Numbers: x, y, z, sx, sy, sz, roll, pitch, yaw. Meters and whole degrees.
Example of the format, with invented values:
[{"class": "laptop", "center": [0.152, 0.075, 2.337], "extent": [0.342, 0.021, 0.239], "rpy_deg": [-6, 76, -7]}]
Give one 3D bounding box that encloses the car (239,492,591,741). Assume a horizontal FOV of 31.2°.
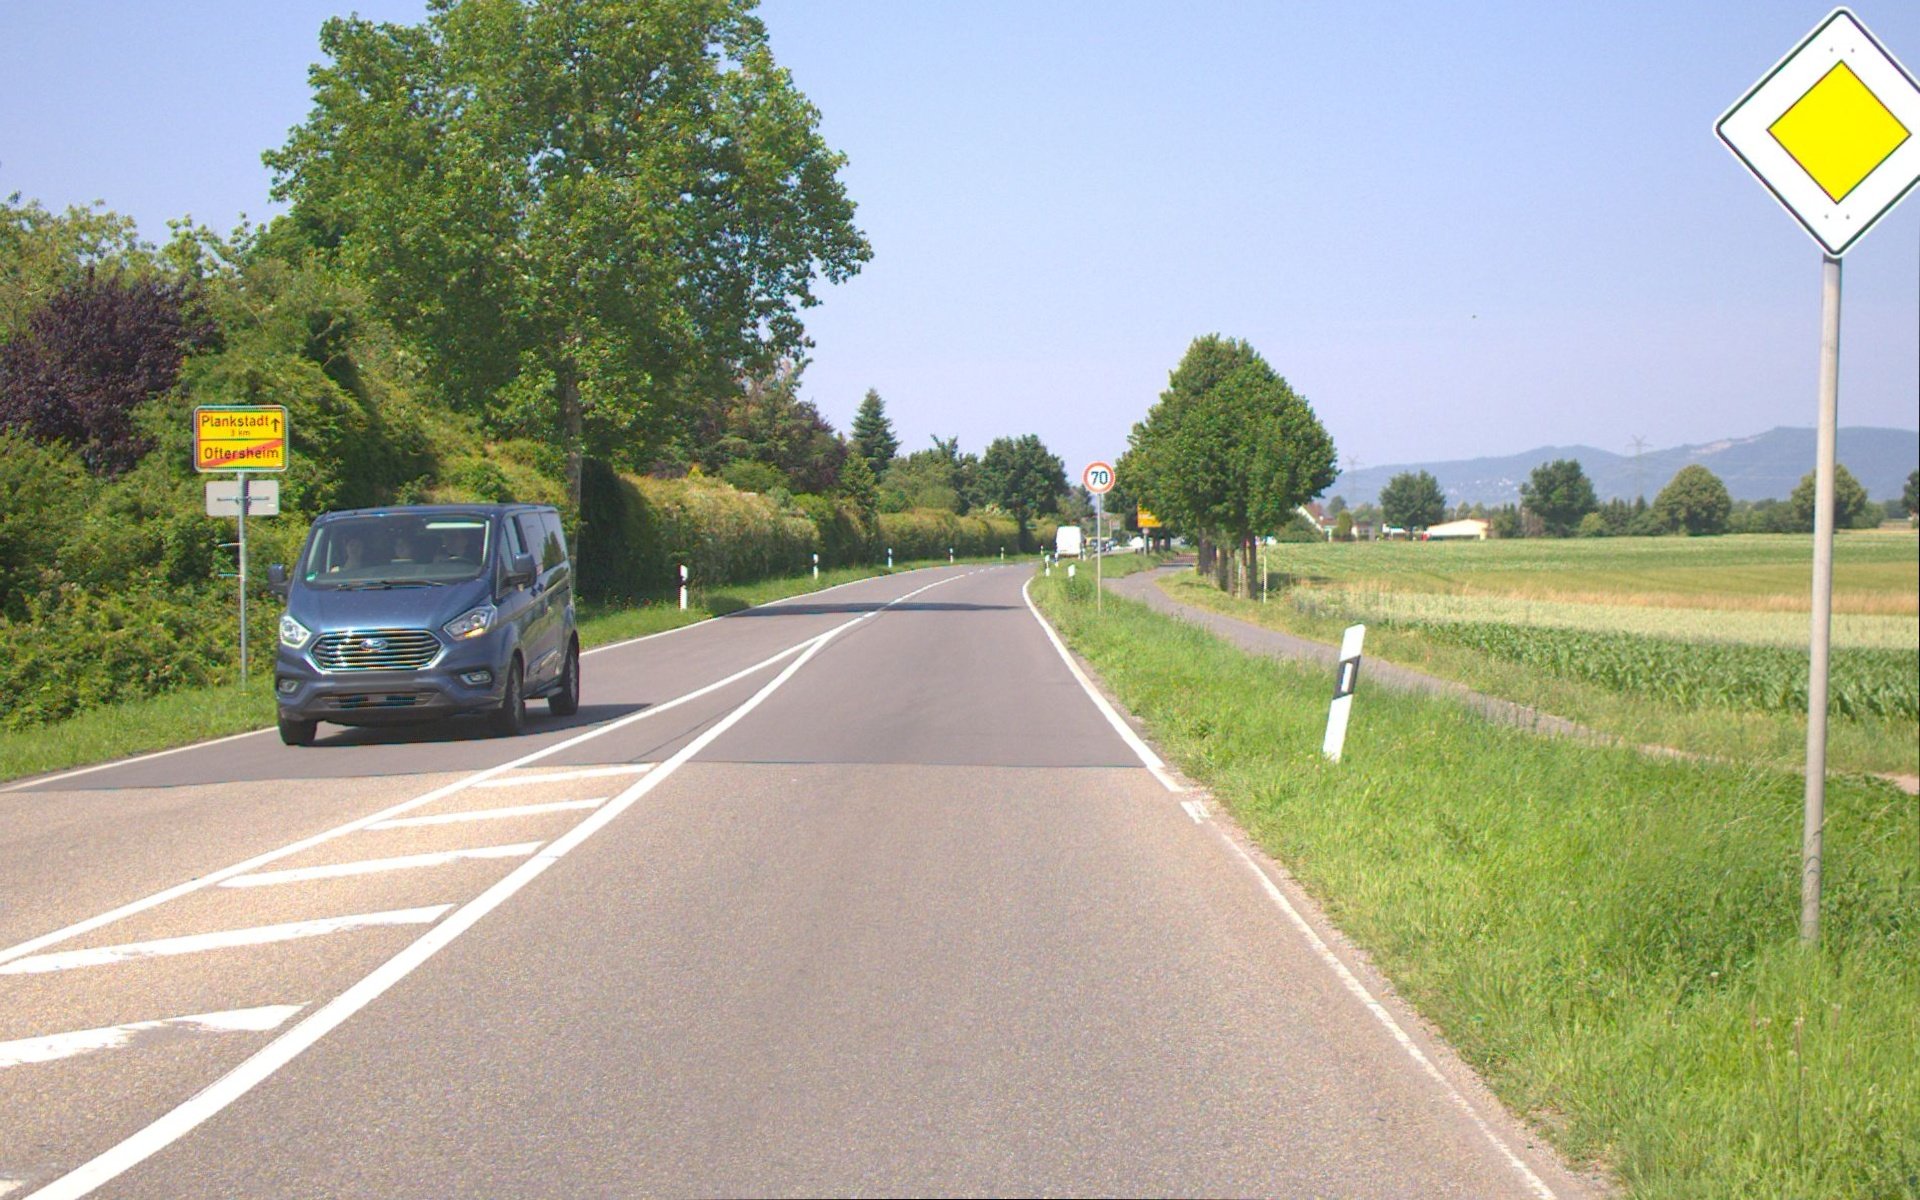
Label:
[{"class": "car", "center": [-4.634, 0.066, 30.082], "extent": [2.144, 1.944, 5.247], "rpy_deg": [-1, 1, 1]}]
